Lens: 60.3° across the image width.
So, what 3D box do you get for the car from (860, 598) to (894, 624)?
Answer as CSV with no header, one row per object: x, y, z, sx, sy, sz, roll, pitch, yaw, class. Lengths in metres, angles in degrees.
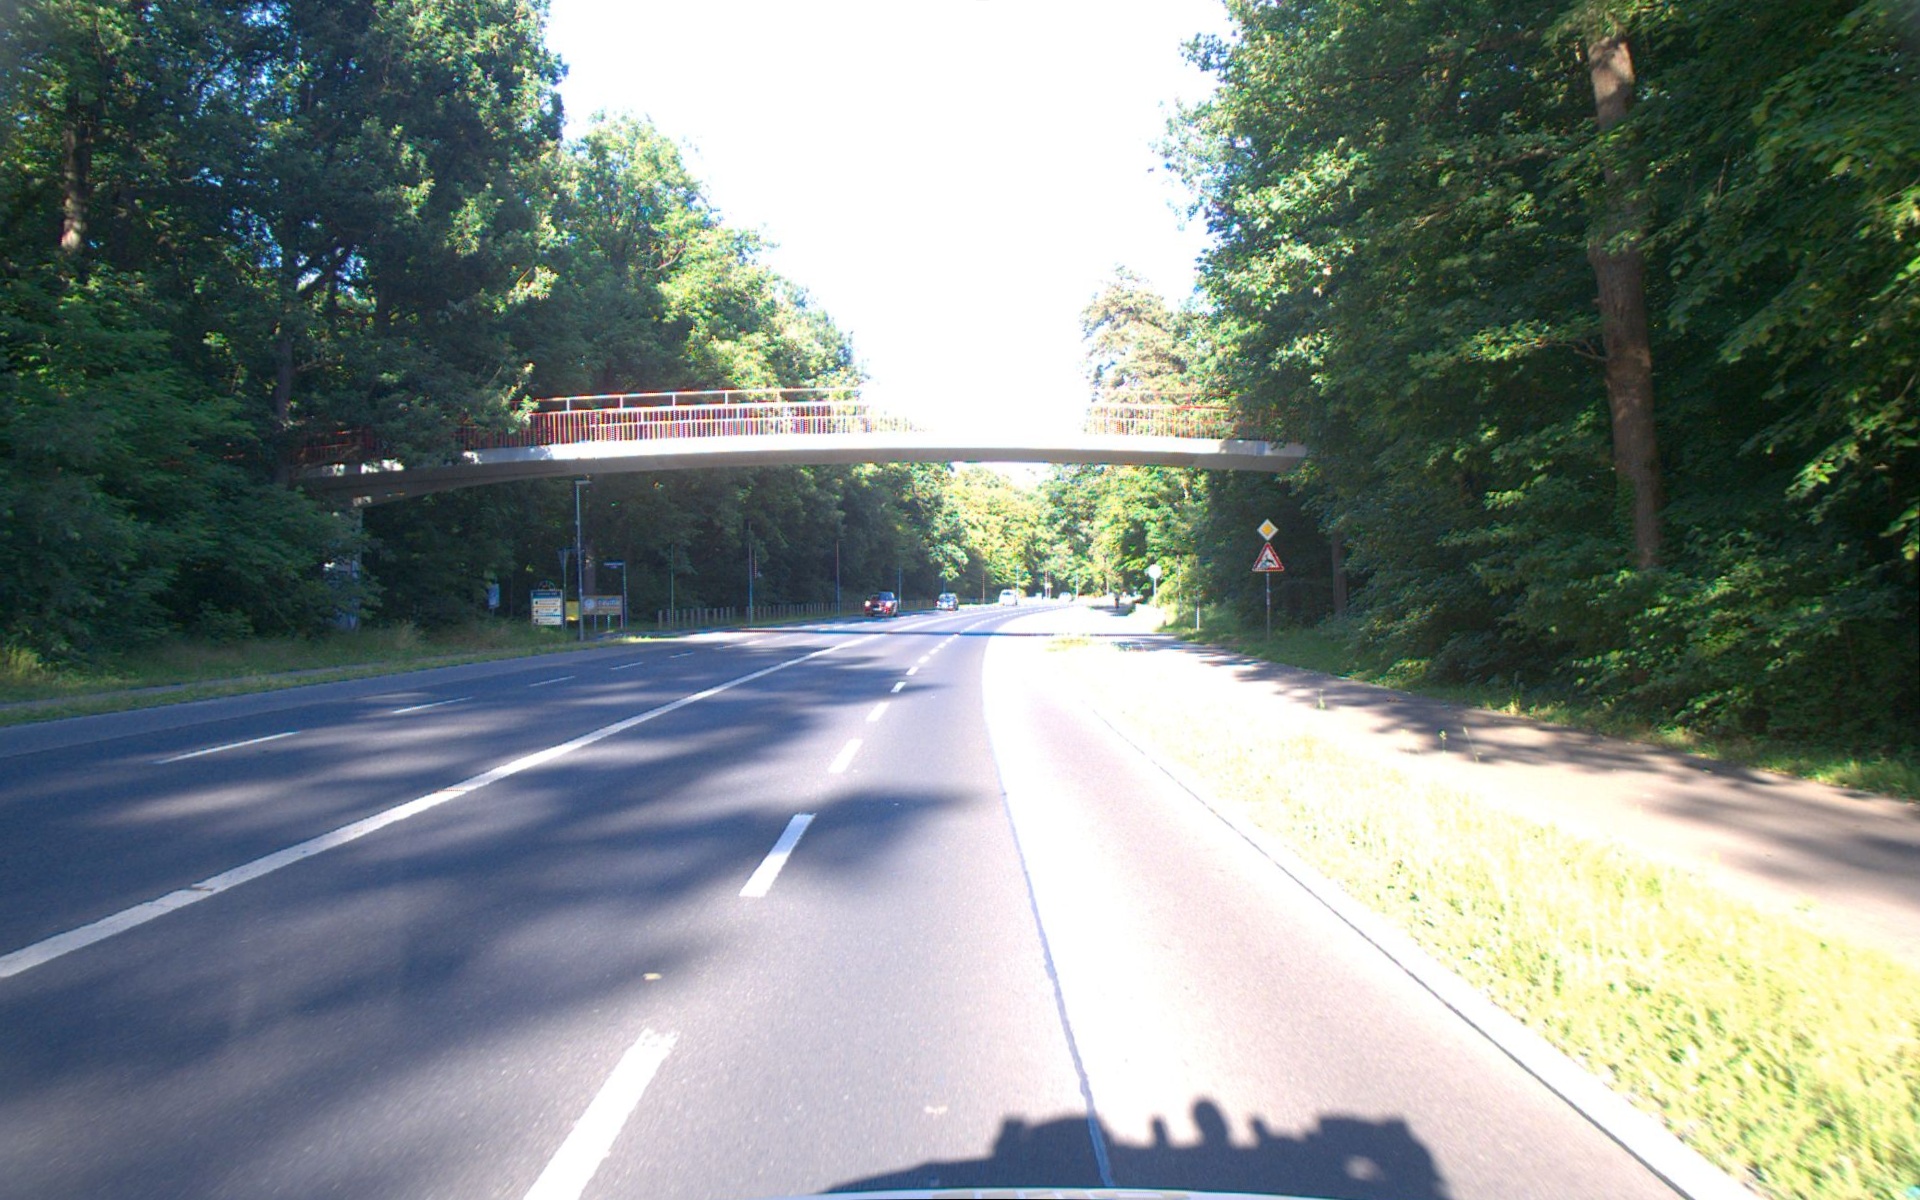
-5.293,0.681,105.899,1.725,1.610,4.170,1,0,3,car

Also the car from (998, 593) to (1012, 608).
5.435,0.094,197.986,1.670,1.739,4.001,0,0,2,car

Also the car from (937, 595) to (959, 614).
-1.066,0.359,145.680,1.686,1.601,4.179,1,0,3,car
